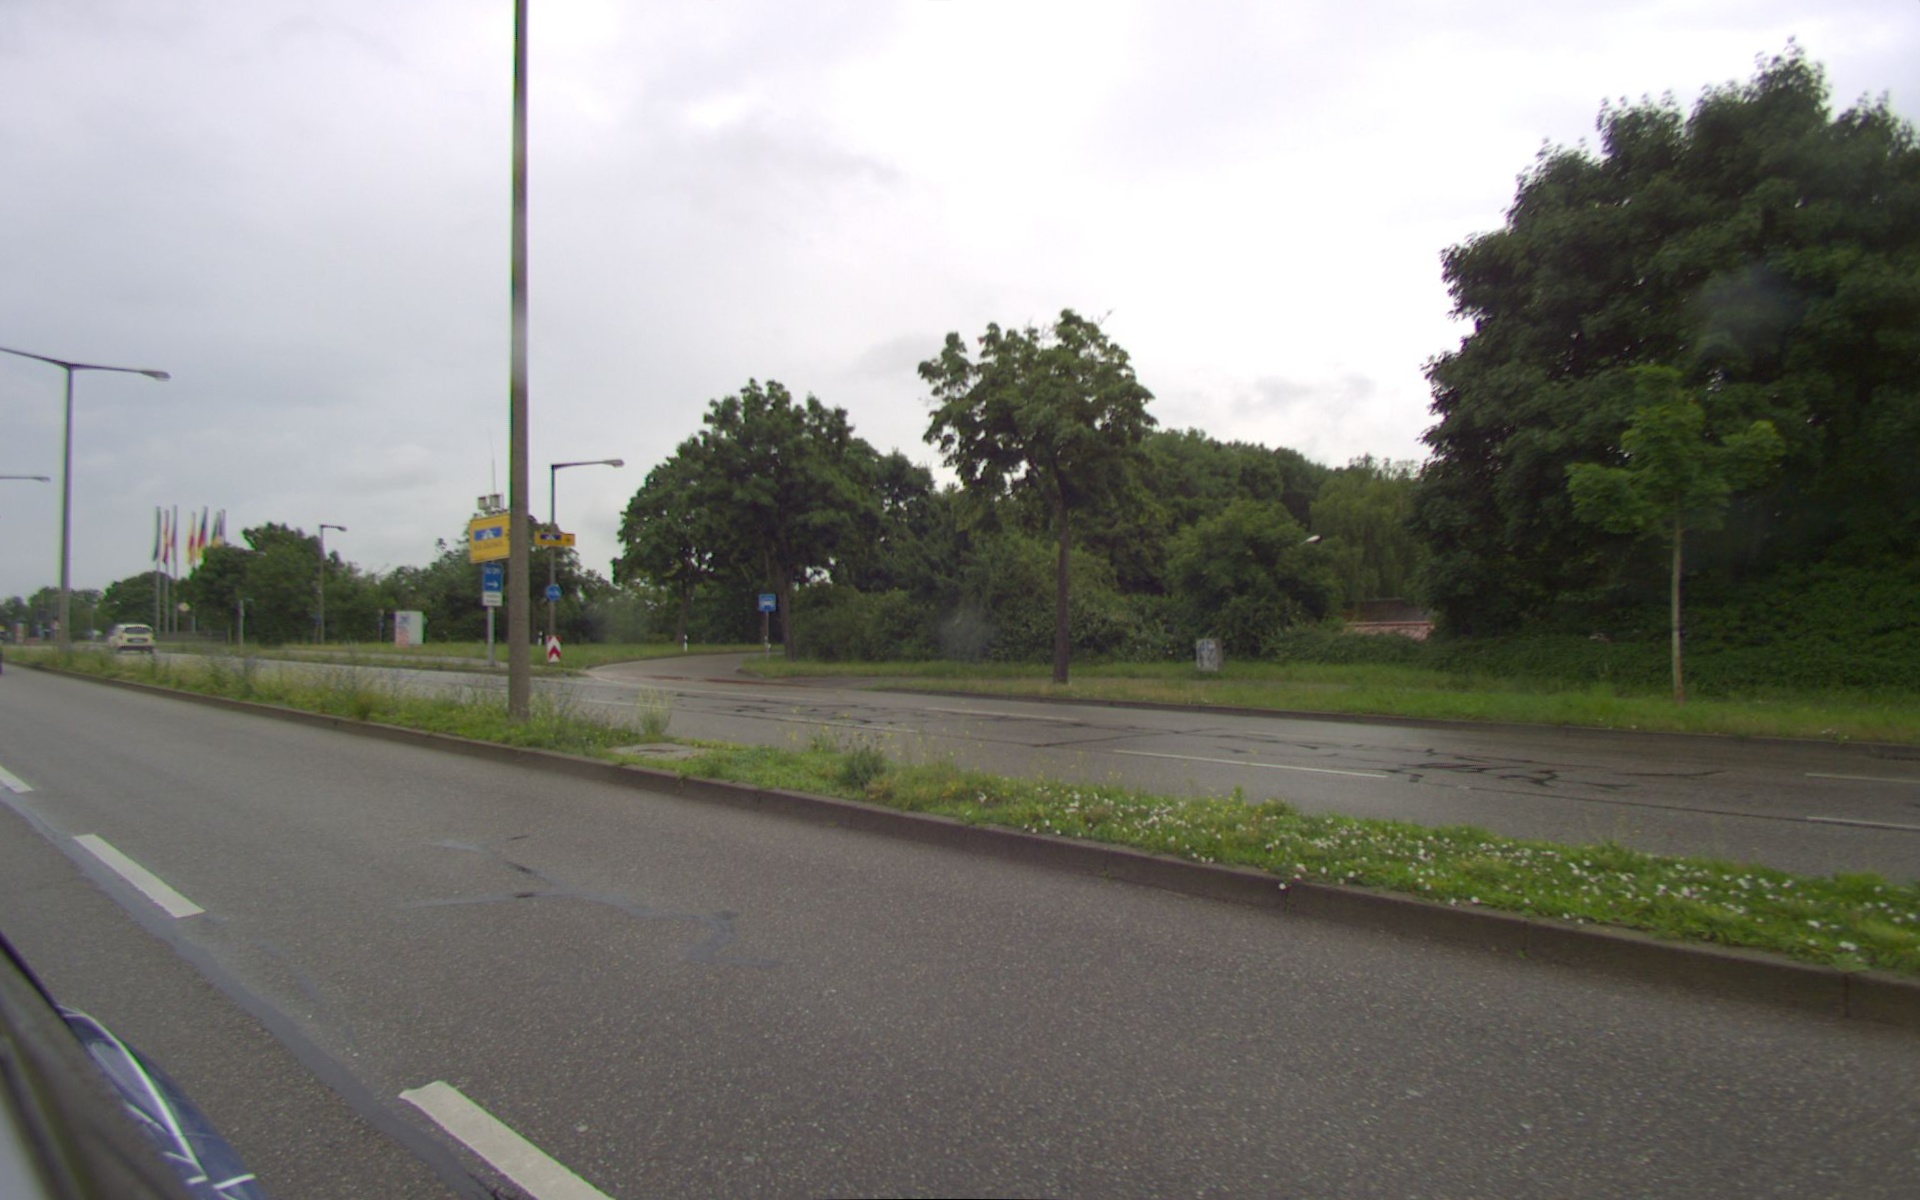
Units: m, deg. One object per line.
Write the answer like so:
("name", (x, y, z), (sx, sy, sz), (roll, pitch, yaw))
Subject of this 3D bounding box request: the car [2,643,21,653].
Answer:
("car", (-141.602, 7.226, 151.072), (3.556, 1.459, 1.643), (-2, -4, 42))

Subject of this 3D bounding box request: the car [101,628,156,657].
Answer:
("car", (-48.168, 2.469, 58.601), (4.489, 1.642, 1.689), (-2, -4, 41))
